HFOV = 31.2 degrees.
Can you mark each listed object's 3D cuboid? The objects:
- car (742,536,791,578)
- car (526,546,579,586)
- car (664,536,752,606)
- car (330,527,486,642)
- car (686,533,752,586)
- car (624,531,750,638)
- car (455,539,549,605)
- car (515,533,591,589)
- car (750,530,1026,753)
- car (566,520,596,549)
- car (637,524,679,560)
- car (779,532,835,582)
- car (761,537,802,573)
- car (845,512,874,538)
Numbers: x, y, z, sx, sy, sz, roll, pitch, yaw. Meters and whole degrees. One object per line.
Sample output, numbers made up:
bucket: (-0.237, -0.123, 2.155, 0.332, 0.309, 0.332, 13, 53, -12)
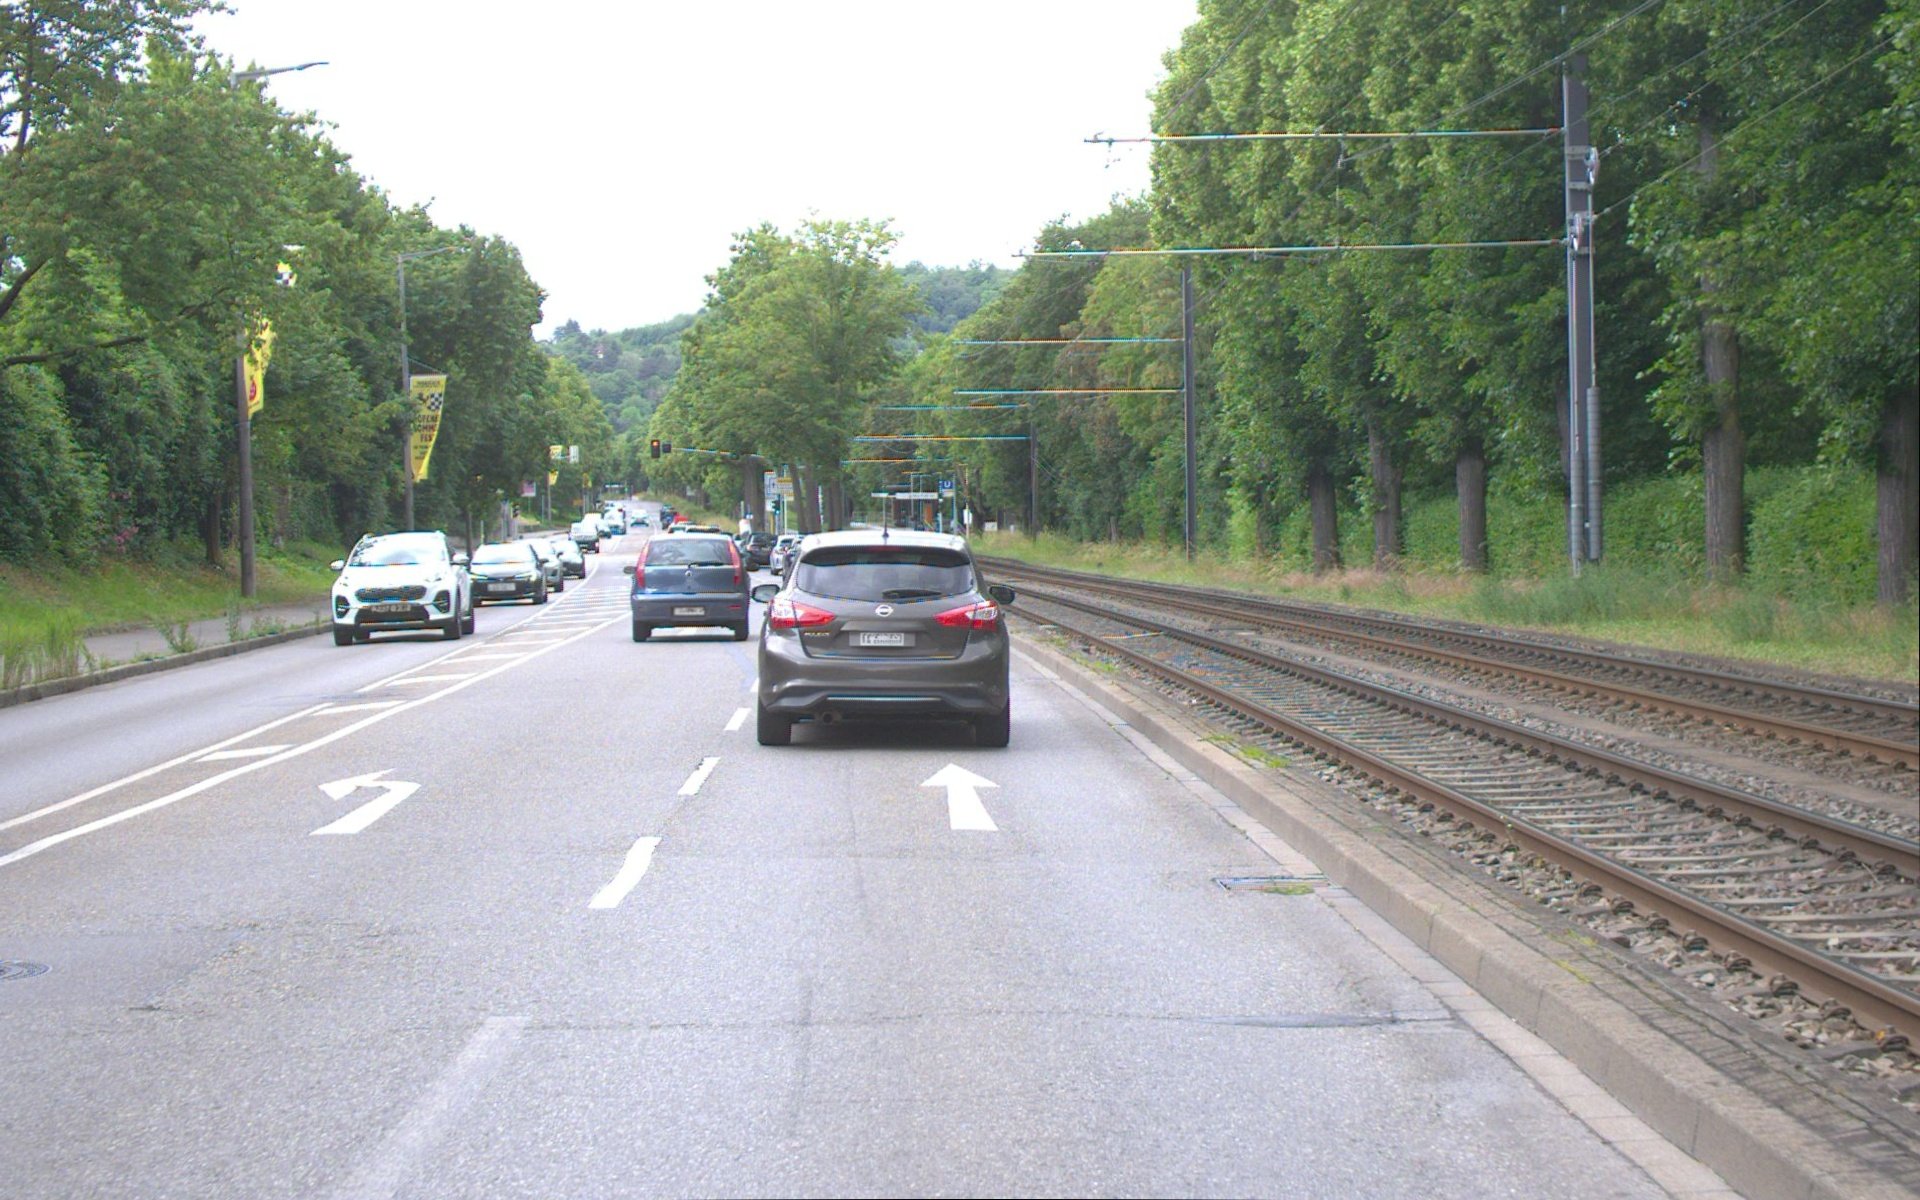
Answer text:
car: (-7.131, -1.582, 127.071, 1.715, 1.545, 4.000, 0, 1, -2)
car: (-15.176, -1.288, 128.099, 1.841, 1.371, 4.449, -3, 1, -6)
car: (-5.321, -0.633, 73.027, 1.699, 1.438, 4.001, 0, 1, -2)
car: (-8.348, -0.256, 52.297, 1.841, 1.615, 4.160, -2, 1, -3)
car: (-6.685, -1.126, 95.568, 1.715, 1.430, 4.000, 0, 1, -2)
car: (-3.799, -0.246, 48.333, 1.699, 1.438, 4.001, 0, 1, -4)
car: (-10.524, -0.672, 79.168, 1.766, 1.395, 4.216, -3, 1, -3)
car: (-11.380, -1.102, 96.397, 1.826, 1.452, 4.143, -3, 1, -4)
car: (-0.523, 0.249, 25.256, 1.850, 1.488, 4.000, 1, 1, -1)
car: (-23.660, -4.104, 214.605, 1.715, 1.754, 4.001, 0, 1, -4)
car: (-14.539, -2.806, 165.443, 1.699, 1.708, 4.000, 0, 1, -1)
car: (-4.811, -1.342, 108.471, 1.715, 1.545, 4.000, 0, 1, -2)
car: (-7.758, -1.956, 149.454, 1.715, 1.545, 4.000, 0, 1, -2)
car: (-6.489, -4.829, 222.026, 1.715, 1.657, 3.708, 0, 0, -4)
